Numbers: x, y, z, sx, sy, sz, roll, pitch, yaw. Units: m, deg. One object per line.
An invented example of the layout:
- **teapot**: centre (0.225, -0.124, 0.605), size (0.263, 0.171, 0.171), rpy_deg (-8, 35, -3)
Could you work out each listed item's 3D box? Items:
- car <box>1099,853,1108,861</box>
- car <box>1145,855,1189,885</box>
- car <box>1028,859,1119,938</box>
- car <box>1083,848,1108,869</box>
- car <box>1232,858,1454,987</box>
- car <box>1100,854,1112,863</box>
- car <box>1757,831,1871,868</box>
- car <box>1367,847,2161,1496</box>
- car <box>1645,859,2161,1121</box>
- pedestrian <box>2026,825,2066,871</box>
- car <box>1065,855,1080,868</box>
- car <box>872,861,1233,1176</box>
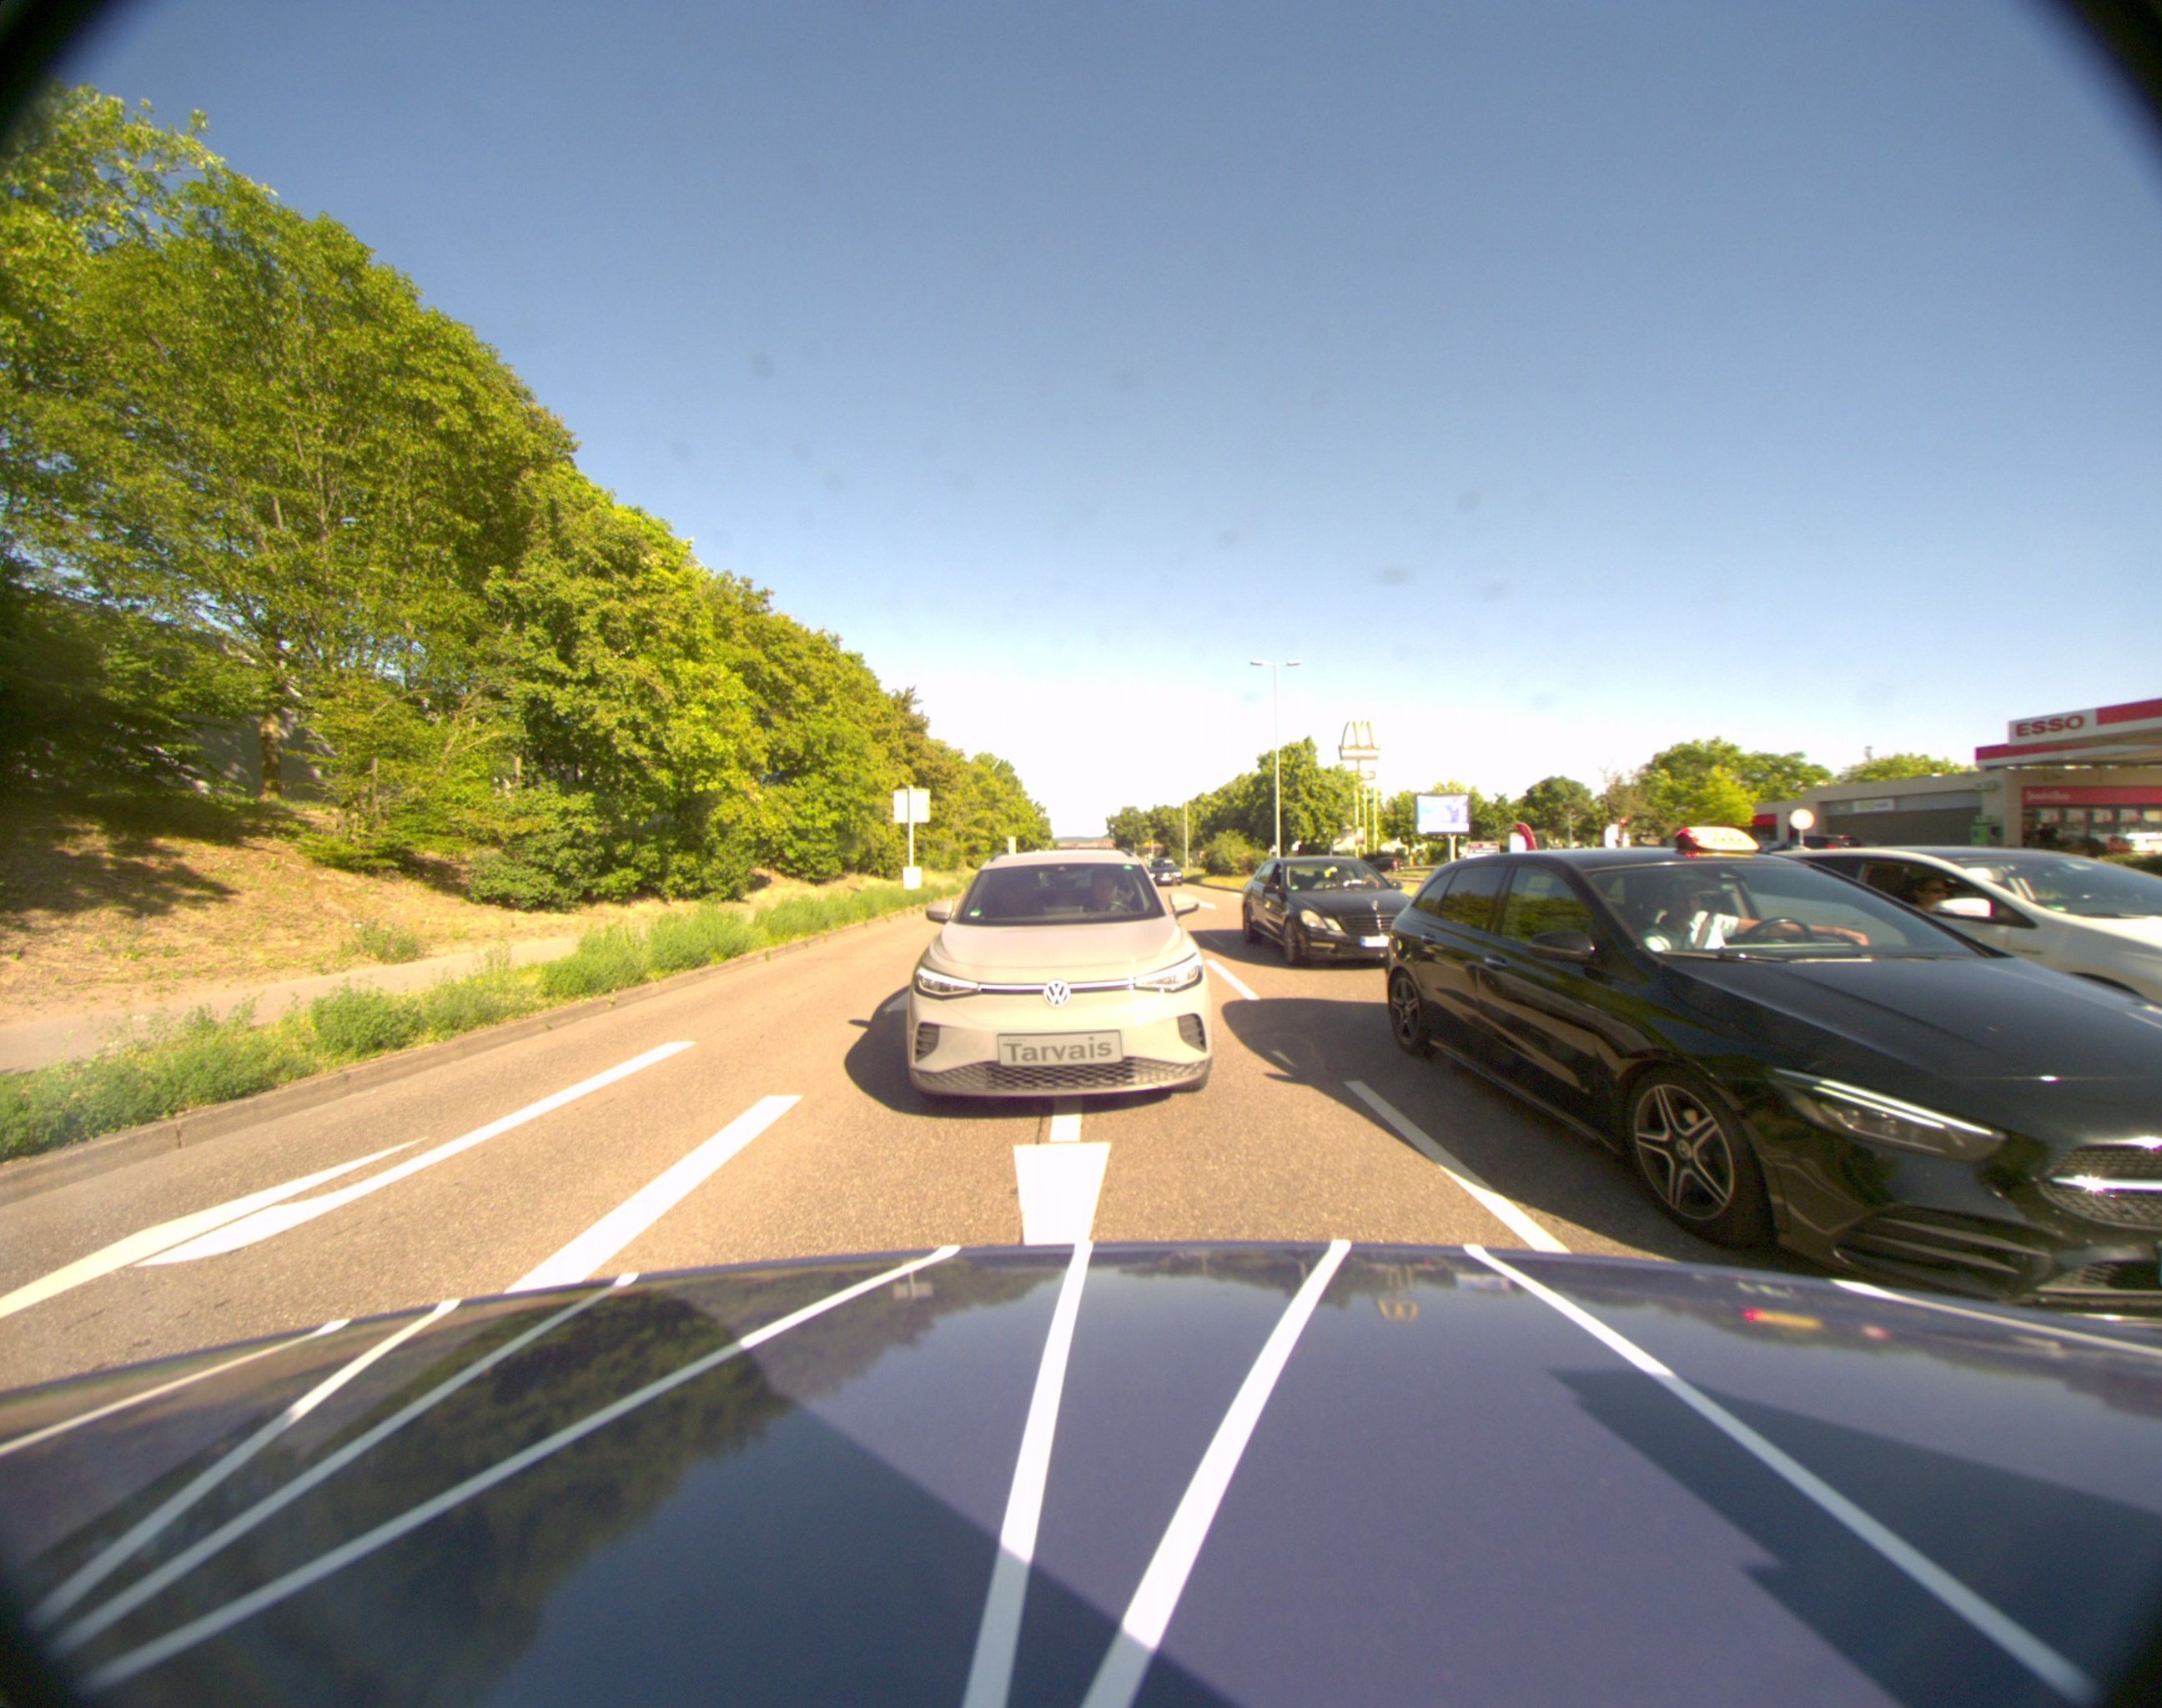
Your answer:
- **car**: centre (4.726, 0.666, 162.094), size (1.862, 1.578, 4.403), rpy_deg (-1, 0, 1)
- **car**: centre (4.485, 0.814, 40.174), size (1.862, 1.472, 4.403), rpy_deg (-1, 0, 1)
- **car**: centre (-0.121, 0.893, 16.971), size (1.765, 1.503, 3.760), rpy_deg (-2, 0, 1)
- **car**: centre (1.430, 0.401, 73.454), size (2.289, 1.863, 5.268), rpy_deg (-1, 0, 1)
- **car**: centre (3.638, 0.844, 11.467), size (1.862, 1.515, 4.403), rpy_deg (-1, 0, 1)
- **car**: centre (4.203, 0.751, 129.523), size (1.862, 1.578, 4.403), rpy_deg (-1, 0, 1)
- **car**: centre (37.519, -0.203, 39.043), size (1.998, 1.759, 4.118), rpy_deg (-1, 0, 2)
- **car**: centre (3.156, 0.803, 3.994), size (1.804, 1.616, 4.188), rpy_deg (-1, 0, 2)
- **car**: centre (6.953, 0.783, 5.800), size (1.862, 1.421, 4.402), rpy_deg (-1, 0, -3)
- **pedestrian**: centre (43.153, -0.260, 33.977), size (0.703, 2.002, 0.840), rpy_deg (-1, 1, 1)
- **car**: centre (-1.099, 1.001, 100.457), size (1.862, 1.578, 4.403), rpy_deg (-1, 0, 1)
- **car**: centre (-0.126, 0.894, 5.995), size (1.871, 1.588, 3.932), rpy_deg (-2, 0, 1)
